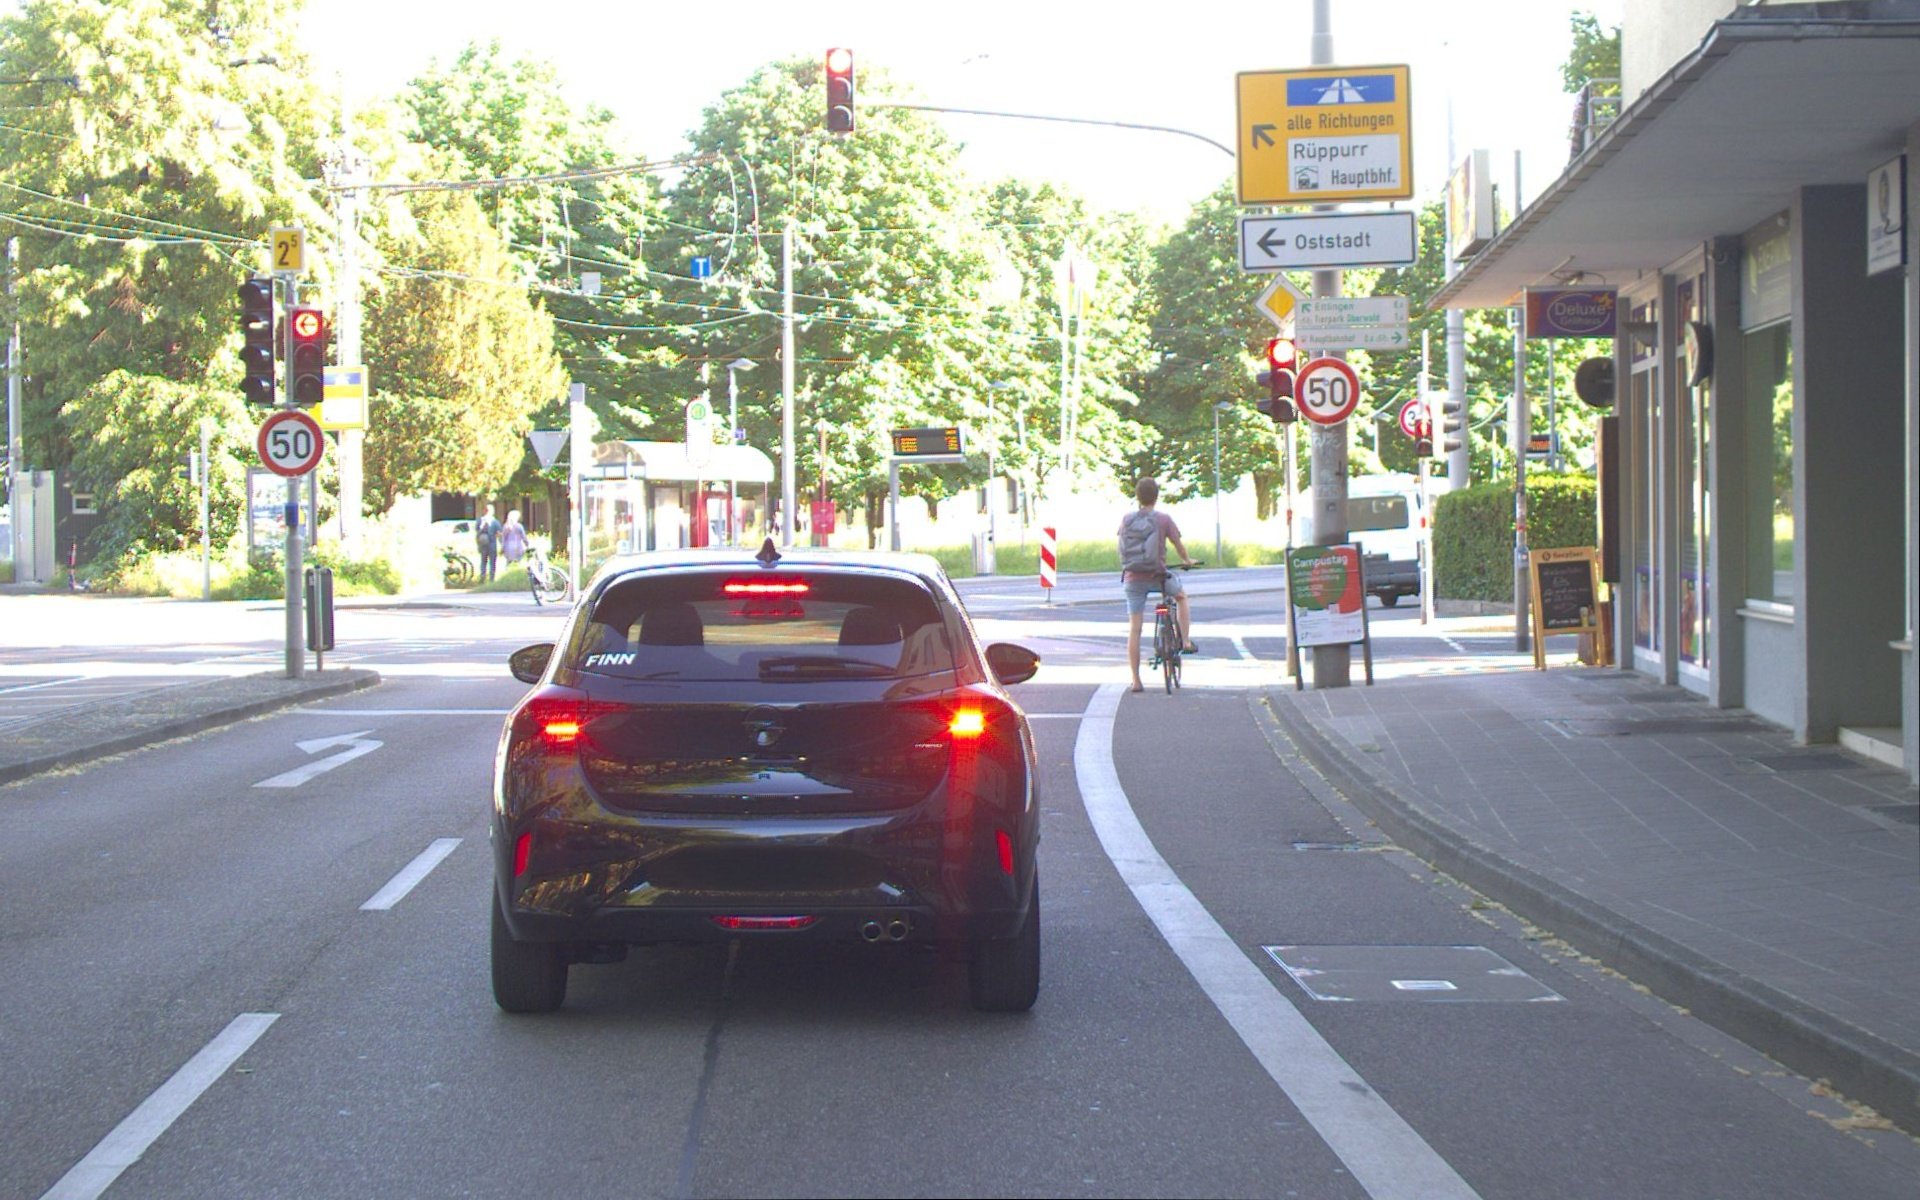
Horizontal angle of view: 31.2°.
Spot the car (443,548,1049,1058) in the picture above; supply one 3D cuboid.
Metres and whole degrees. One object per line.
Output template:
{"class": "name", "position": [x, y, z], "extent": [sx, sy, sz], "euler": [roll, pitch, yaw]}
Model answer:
{"class": "car", "position": [-0.638, 0.552, 11.938], "extent": [1.727, 1.424, 4.187], "euler": [0, 1, -1]}

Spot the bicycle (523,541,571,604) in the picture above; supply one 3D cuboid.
{"class": "bicycle", "position": [-7.064, -0.482, 58.851], "extent": [0.605, 1.028, 1.982], "euler": [-1, 1, -1]}

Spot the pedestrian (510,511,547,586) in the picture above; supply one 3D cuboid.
{"class": "pedestrian", "position": [-9.473, -1.128, 75.490], "extent": [0.636, 1.624, 0.572], "euler": [1, 0, 6]}

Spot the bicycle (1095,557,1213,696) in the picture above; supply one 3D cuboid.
{"class": "bicycle", "position": [1.694, 0.213, 30.392], "extent": [0.860, 1.149, 2.172], "euler": [-1, 1, -1]}

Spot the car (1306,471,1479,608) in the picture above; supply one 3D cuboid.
{"class": "car", "position": [7.461, -1.055, 58.901], "extent": [2.065, 2.241, 4.883], "euler": [0, 1, 18]}

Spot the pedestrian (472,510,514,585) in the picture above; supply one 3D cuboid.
{"class": "pedestrian", "position": [-10.269, -1.149, 75.566], "extent": [0.751, 1.624, 0.597], "euler": [1, 0, 6]}

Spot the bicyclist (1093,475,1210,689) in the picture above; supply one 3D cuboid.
{"class": "bicyclist", "position": [1.688, -0.166, 30.370], "extent": [0.941, 1.845, 0.864], "euler": [-1, 1, -1]}
